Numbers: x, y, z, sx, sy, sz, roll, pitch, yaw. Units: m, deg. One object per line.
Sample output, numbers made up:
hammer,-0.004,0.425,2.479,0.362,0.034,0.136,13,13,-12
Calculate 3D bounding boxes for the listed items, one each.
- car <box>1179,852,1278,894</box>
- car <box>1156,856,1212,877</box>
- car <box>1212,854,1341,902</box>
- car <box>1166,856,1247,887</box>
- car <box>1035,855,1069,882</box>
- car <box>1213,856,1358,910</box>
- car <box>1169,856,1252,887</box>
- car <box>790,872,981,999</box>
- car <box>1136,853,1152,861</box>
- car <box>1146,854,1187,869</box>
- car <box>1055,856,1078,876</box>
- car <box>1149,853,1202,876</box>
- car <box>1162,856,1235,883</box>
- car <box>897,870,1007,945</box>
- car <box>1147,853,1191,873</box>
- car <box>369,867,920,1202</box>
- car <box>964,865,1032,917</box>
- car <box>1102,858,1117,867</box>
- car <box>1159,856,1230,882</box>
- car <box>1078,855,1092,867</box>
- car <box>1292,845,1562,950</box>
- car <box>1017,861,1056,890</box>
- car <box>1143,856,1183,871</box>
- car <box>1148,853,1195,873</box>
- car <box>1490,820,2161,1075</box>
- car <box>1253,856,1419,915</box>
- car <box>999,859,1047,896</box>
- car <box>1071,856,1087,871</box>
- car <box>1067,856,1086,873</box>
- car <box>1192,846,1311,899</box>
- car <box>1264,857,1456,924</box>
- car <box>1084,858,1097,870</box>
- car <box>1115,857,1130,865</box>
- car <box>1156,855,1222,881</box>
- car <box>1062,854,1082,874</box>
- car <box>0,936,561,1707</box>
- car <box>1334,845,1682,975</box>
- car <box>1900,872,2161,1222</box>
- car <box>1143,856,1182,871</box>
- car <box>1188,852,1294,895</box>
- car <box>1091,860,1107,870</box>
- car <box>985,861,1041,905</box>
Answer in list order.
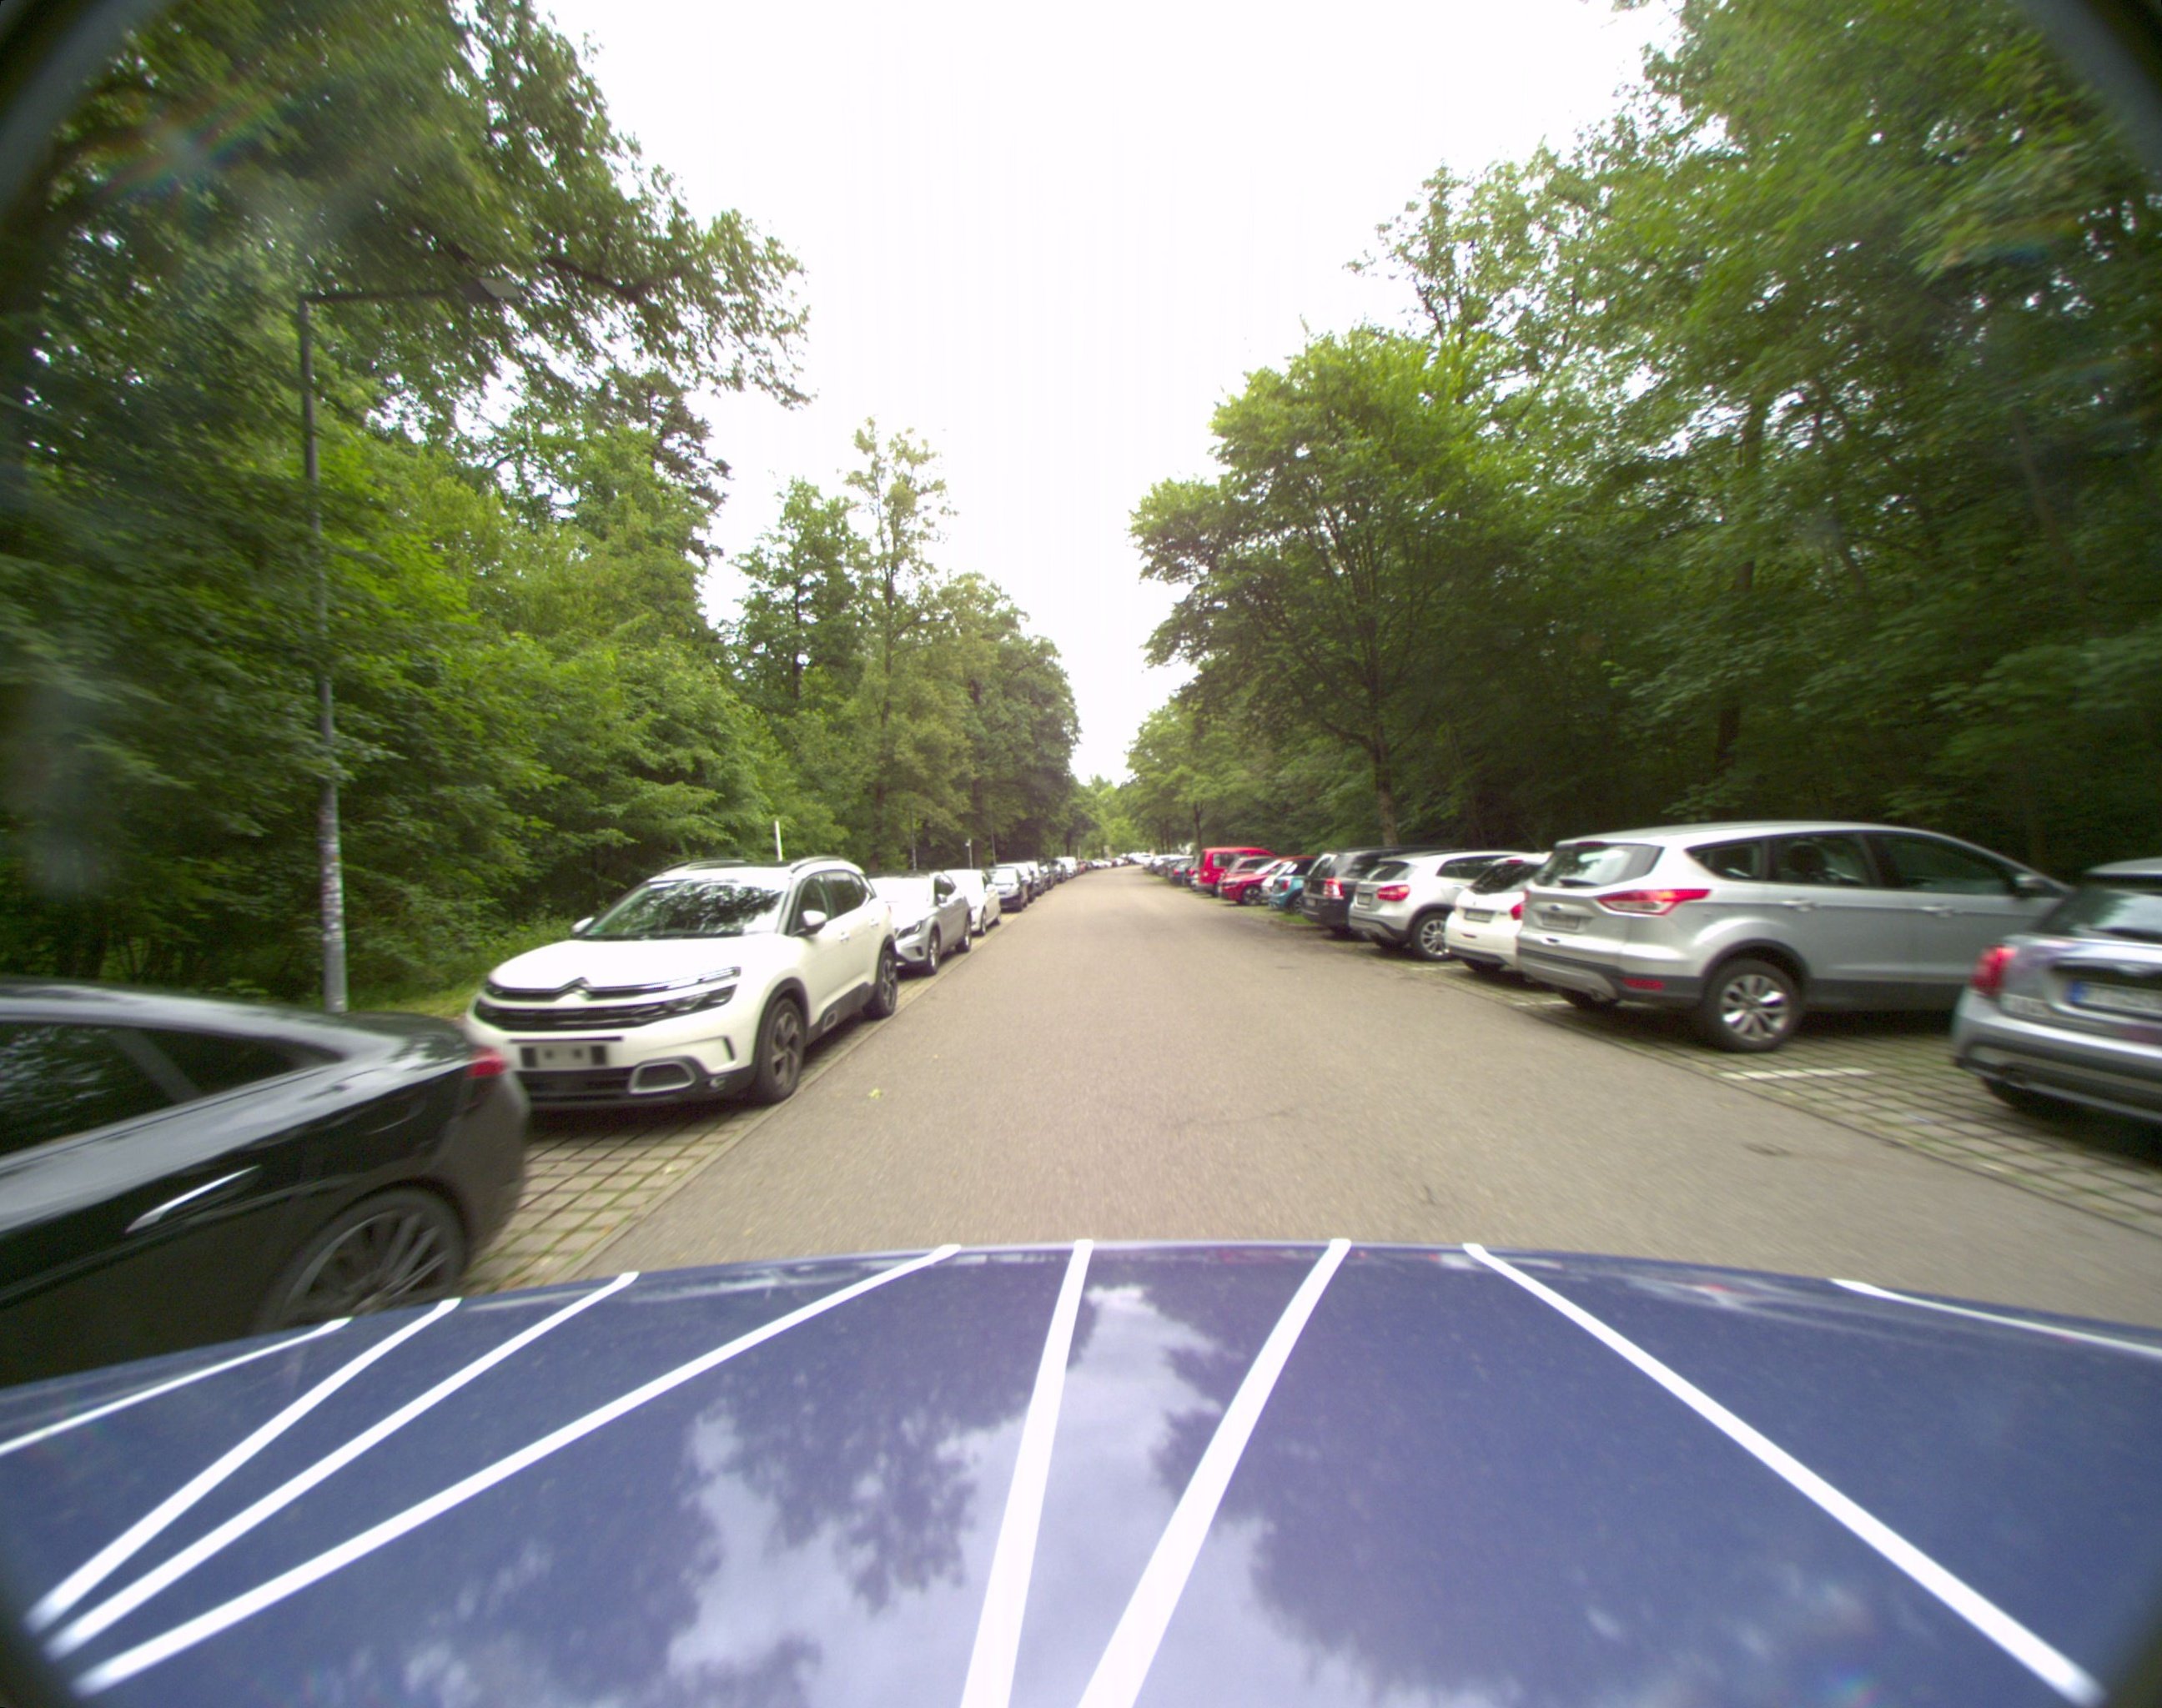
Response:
car,6.412,0.821,33.328,3.996,1.587,1.742,-3,0,3
car,7.895,0.952,58.376,3.998,1.363,1.713,-3,0,-4
car,6.702,0.811,26.407,3.997,1.507,1.818,-2,0,1
car,6.700,0.899,40.905,3.997,1.433,1.741,-3,0,-2
car,-1.947,0.967,52.470,1.909,1.713,4.486,-3,0,3
car,6.226,0.872,23.501,3.997,1.507,1.771,-2,0,1
car,6.525,0.873,38.575,3.996,1.413,1.742,-2,0,4
car,-2.849,1.108,12.224,1.740,1.470,4.769,-3,0,0
car,11.768,0.534,141.809,1.769,1.308,3.896,-2,0,25
car,8.841,0.771,78.647,3.998,1.469,1.713,-1,0,-2
car,-1.189,0.989,63.826,1.580,1.610,3.963,-3,0,3
car,7.541,0.861,60.967,3.998,1.717,1.713,-1,0,-2
car,7.065,0.916,45.915,4.220,1.447,1.819,-2,0,5
car,-2.891,1.147,17.943,1.740,1.398,4.427,-3,0,0
car,8.470,0.850,73.514,3.998,1.661,1.713,-3,0,-2
car,-2.857,1.008,6.580,1.740,1.634,5.072,-3,0,0
car,-2.652,1.143,25.297,1.741,1.426,4.745,-3,0,-1
car,4.425,1.340,117.532,1.771,1.308,3.892,-3,0,9
car,7.186,0.934,48.469,4.221,1.528,1.818,-2,0,1
car,0.575,0.865,97.921,1.502,1.470,3.666,-3,0,4
car,6.002,0.726,13.491,3.997,1.652,1.696,-1,0,-1
car,-2.404,1.138,41.737,1.824,1.433,4.000,-2,0,1
car,8.669,1.037,80.930,3.998,1.469,1.713,-1,0,-2
car,8.141,0.830,68.596,3.998,1.699,1.713,-1,0,-2
car,5.833,0.644,6.182,3.997,1.652,1.814,-2,0,-1
car,6.989,0.843,21.109,3.997,1.440,1.771,-2,0,1
car,-2.665,1.063,35.987,1.907,1.577,4.481,-3,0,-1
car,-0.172,0.978,81.244,1.502,1.470,3.666,-3,0,3
car,-0.405,1.057,76.792,1.642,1.561,3.666,-3,0,3
car,6.288,0.658,28.395,3.997,1.804,1.818,-2,0,0
car,6.566,0.845,18.217,3.996,1.440,1.696,-1,0,4
car,1.319,1.302,102.812,1.502,1.470,3.667,-3,0,5
car,7.022,1.162,127.231,1.771,1.308,3.894,-2,0,14
car,7.212,0.899,50.902,3.998,1.508,1.713,-3,0,-4
car,-0.827,0.916,71.599,1.642,1.742,4.055,-3,0,3
car,-2.911,1.086,0.667,1.741,1.465,4.605,-3,0,-1
car,5.976,0.751,11.023,3.996,1.652,1.814,-1,0,2
car,6.586,0.773,3.339,3.997,1.412,1.814,-3,0,-1
car,8.854,1.002,82.848,3.998,1.469,1.713,-3,0,-2
car,6.486,0.767,31.064,3.996,1.587,1.742,-2,0,3
car,2.571,1.556,108.417,1.500,1.331,3.436,-3,0,16
car,-2.665,1.112,30.771,1.843,1.551,4.423,-3,0,-1
